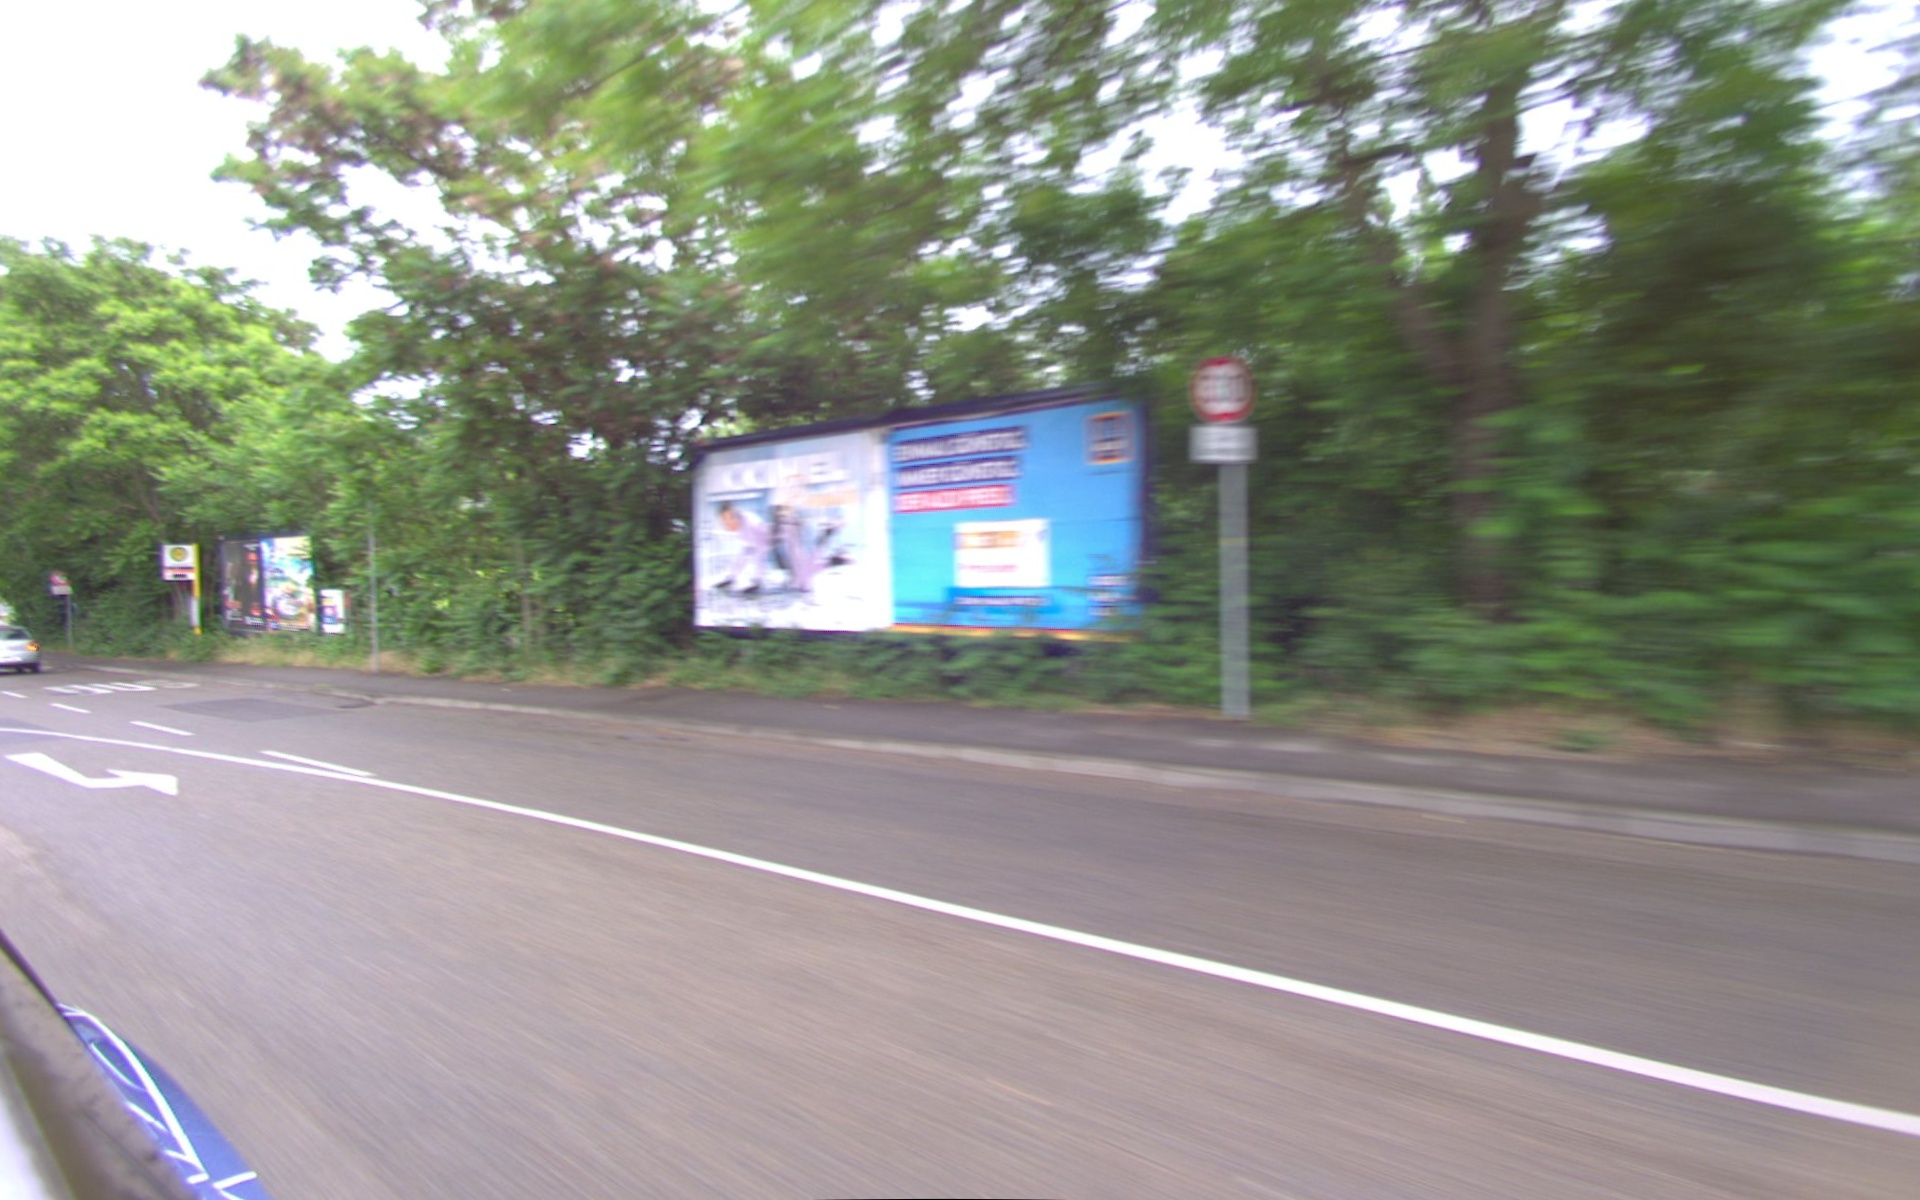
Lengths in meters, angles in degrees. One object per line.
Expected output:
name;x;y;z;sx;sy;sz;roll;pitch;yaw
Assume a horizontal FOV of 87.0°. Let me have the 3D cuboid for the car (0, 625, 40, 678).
car;-28.834;1.532;30.028;3.775;1.479;1.653;-2;0;38
